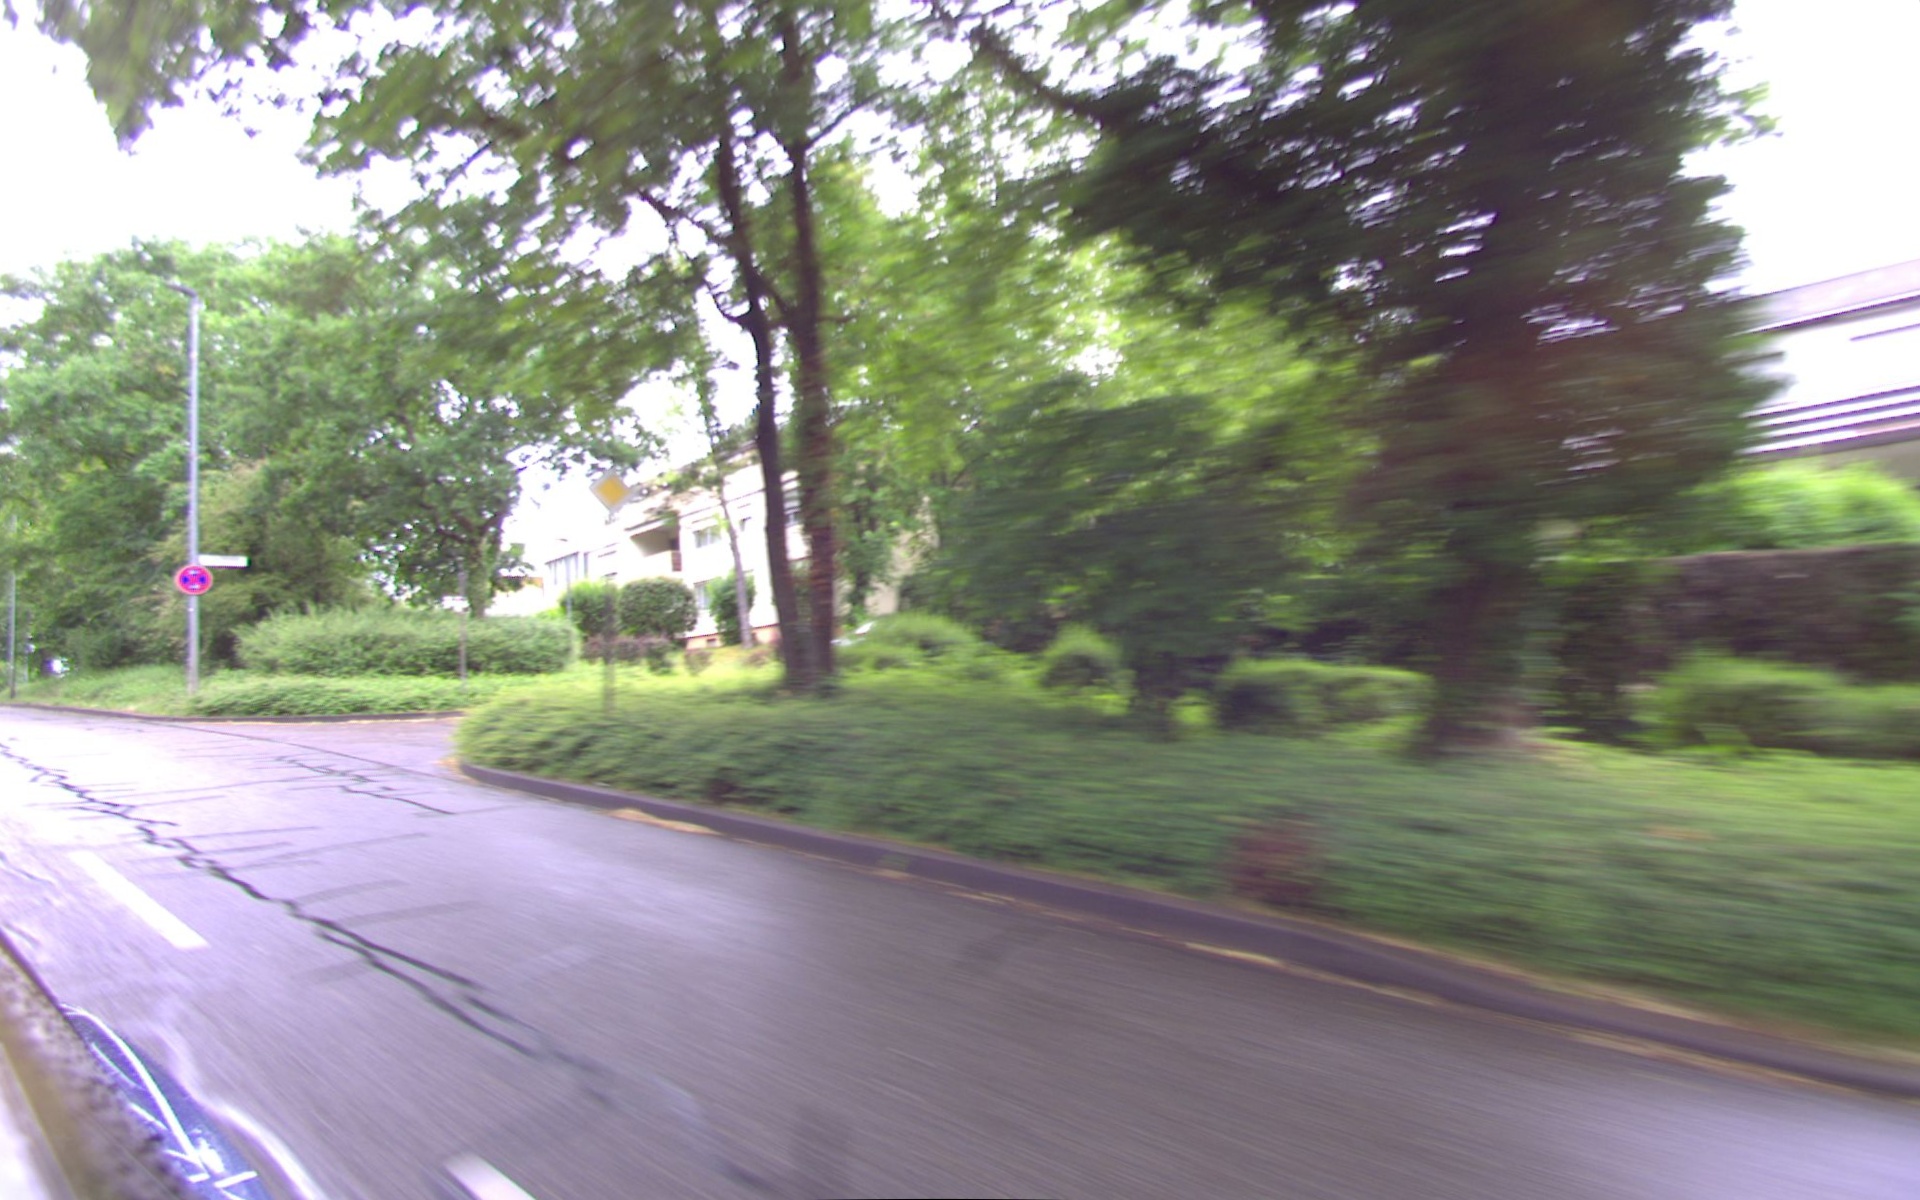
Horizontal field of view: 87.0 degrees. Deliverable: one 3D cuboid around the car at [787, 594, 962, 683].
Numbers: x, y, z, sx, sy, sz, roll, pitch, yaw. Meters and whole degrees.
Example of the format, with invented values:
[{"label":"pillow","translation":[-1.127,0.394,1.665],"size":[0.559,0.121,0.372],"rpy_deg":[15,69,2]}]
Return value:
[{"label":"car","translation":[-2.148,0.959,25.802],"size":[3.937,2.029,2.003],"rpy_deg":[0,-5,-40]}]
